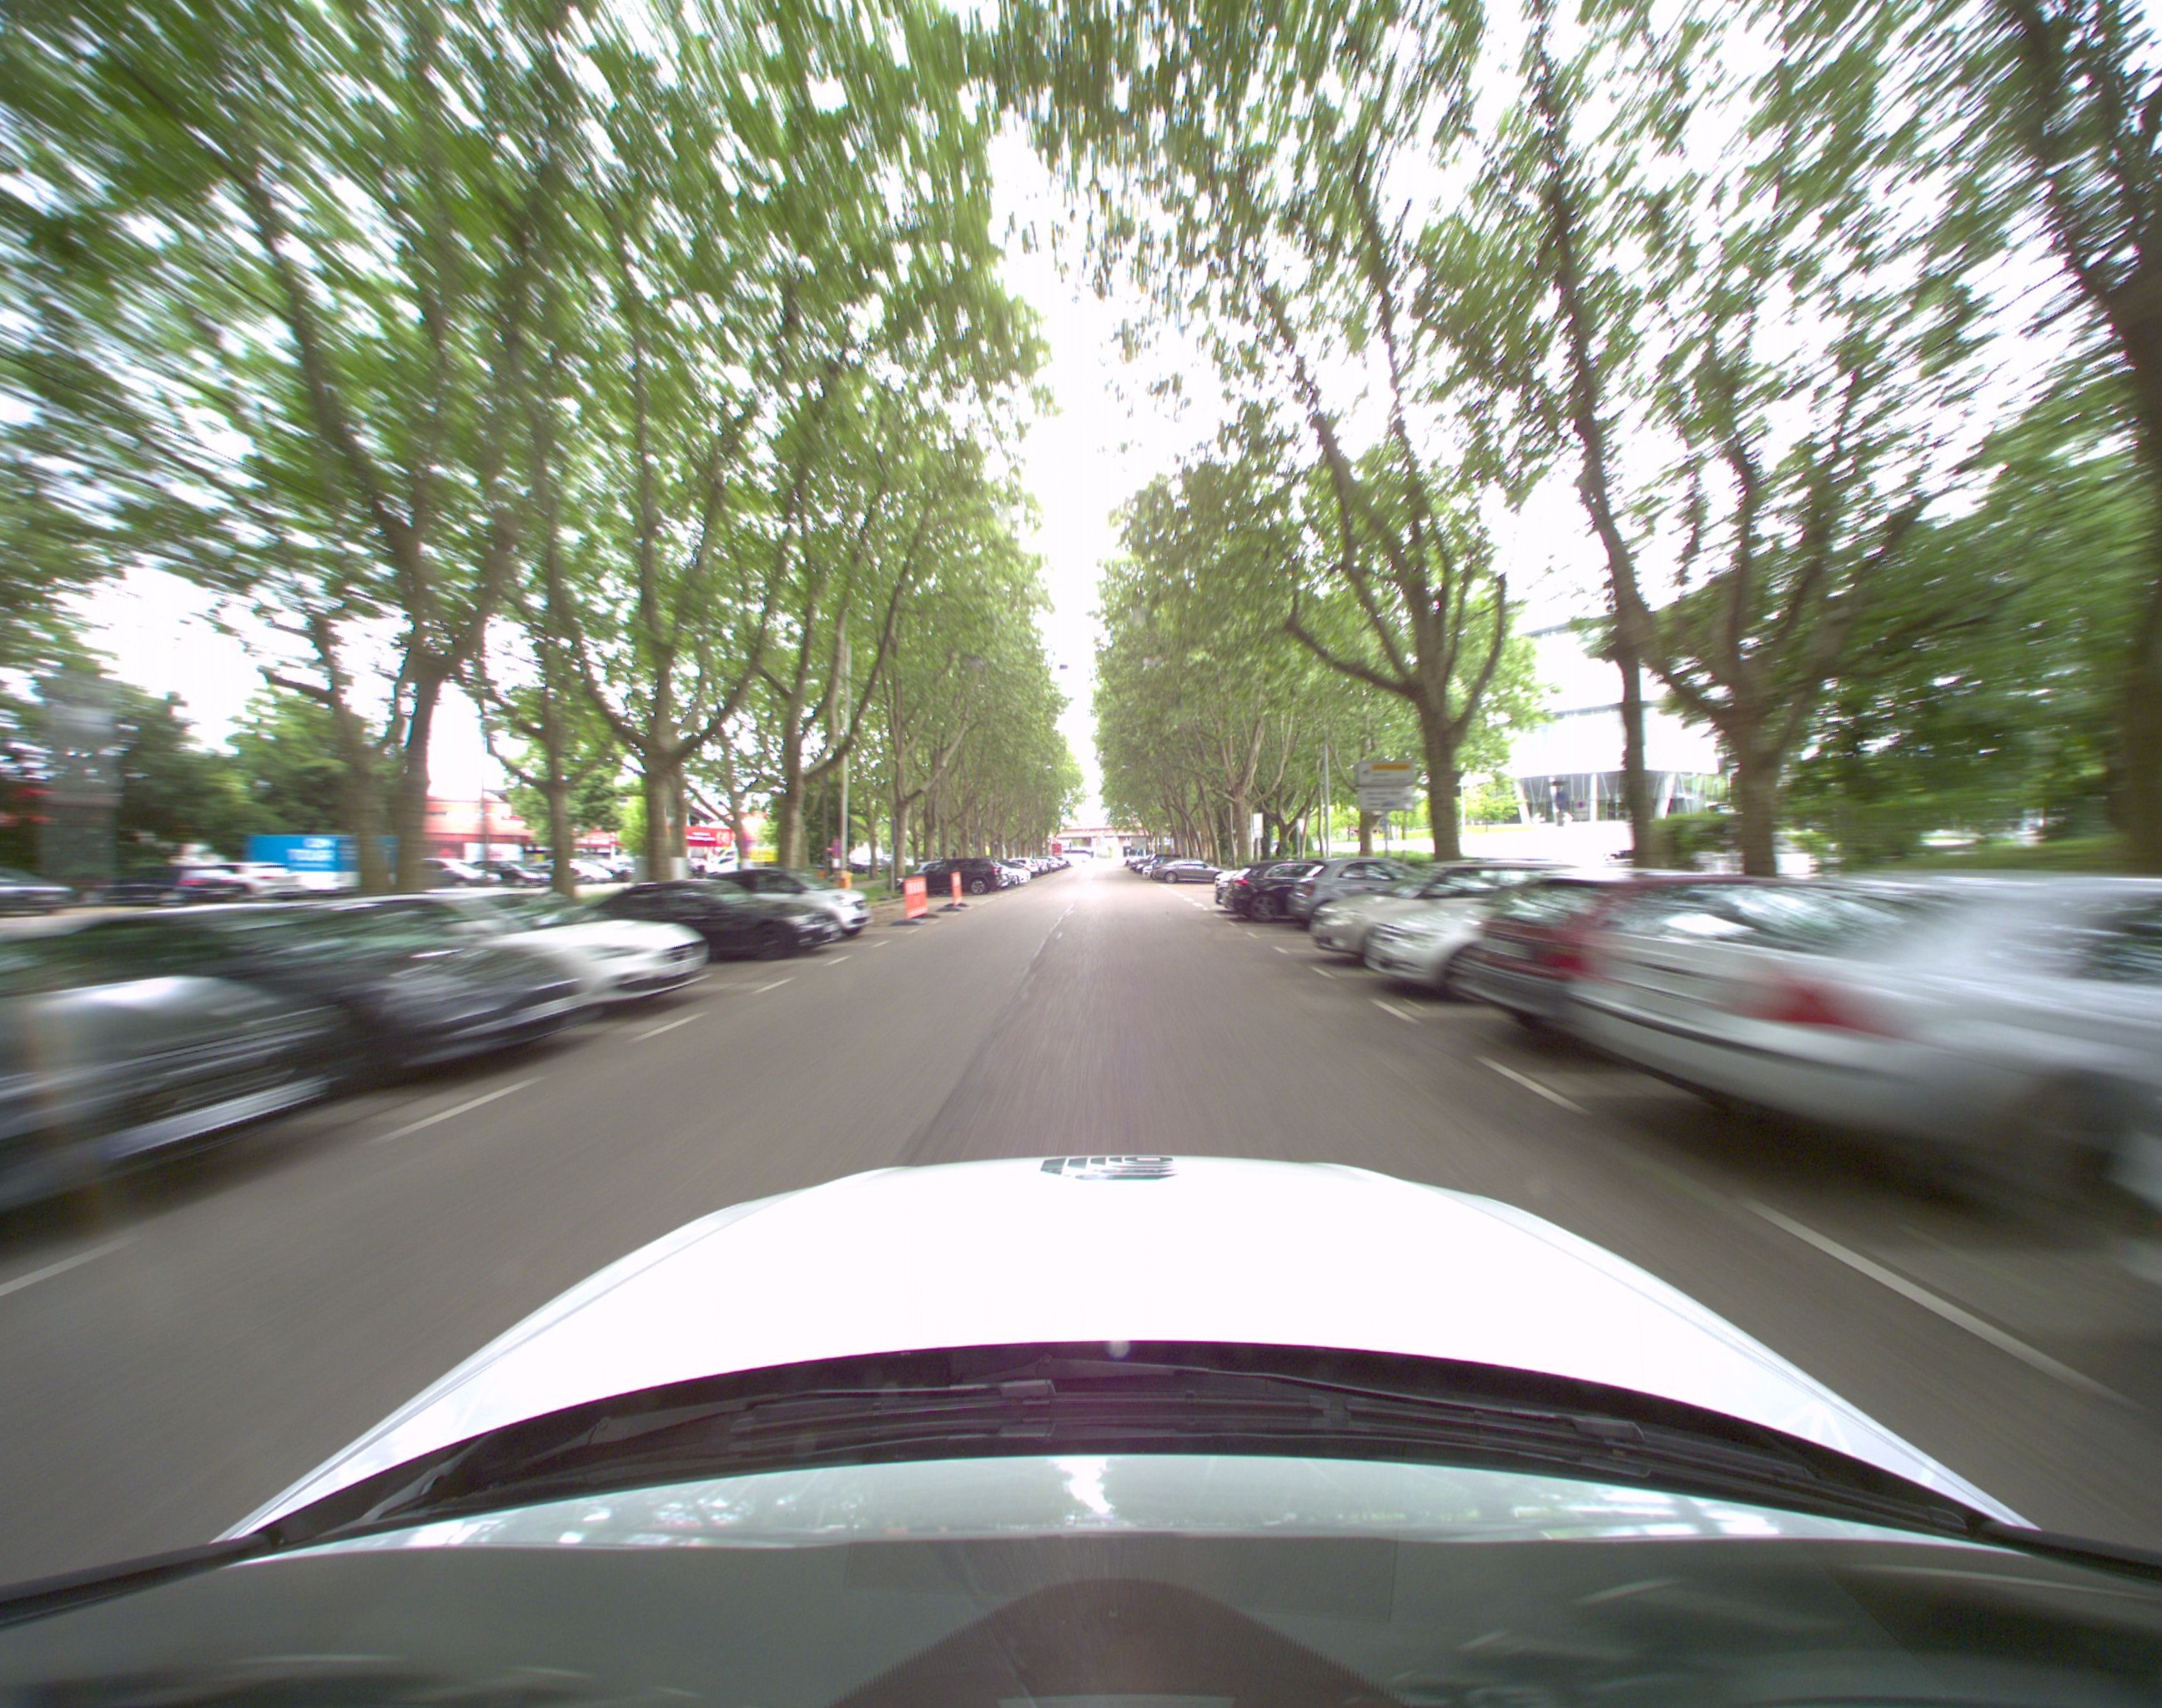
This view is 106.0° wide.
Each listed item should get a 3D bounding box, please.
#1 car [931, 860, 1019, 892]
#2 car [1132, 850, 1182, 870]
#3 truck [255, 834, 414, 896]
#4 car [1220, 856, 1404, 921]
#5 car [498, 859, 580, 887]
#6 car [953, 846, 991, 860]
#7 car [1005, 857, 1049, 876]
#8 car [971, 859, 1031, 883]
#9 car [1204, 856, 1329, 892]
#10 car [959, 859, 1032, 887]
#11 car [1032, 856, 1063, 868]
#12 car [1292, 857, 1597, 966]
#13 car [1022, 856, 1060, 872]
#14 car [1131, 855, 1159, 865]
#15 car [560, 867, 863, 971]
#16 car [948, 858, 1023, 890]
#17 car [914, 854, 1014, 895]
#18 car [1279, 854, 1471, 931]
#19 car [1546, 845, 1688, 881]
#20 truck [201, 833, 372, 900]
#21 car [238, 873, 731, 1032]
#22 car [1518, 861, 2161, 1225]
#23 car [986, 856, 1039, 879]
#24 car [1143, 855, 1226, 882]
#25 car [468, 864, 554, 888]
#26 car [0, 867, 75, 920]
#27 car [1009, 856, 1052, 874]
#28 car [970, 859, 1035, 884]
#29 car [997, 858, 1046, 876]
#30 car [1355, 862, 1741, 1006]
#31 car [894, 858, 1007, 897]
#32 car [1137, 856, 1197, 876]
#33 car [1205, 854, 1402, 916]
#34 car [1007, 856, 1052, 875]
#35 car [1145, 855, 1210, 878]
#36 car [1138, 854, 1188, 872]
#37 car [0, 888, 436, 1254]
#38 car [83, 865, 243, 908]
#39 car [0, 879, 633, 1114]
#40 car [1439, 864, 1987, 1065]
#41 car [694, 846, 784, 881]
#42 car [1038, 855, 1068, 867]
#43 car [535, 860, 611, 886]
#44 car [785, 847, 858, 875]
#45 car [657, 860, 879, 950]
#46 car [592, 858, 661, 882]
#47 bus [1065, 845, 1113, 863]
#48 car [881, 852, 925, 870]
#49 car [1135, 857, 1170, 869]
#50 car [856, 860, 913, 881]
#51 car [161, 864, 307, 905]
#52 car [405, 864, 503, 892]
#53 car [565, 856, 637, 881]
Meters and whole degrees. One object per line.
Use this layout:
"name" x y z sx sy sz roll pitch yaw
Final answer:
"car" -5.400 1.118 41.866 4.154 1.381 1.871 -3 0 -1
"car" 6.871 0.511 73.725 4.364 1.751 1.730 0 0 -2
"truck" -33.961 0.460 37.154 5.218 2.742 2.207 0 0 1
"car" 5.341 0.783 19.128 3.906 1.452 1.555 0 0 0
"car" -32.103 1.107 48.304 3.744 1.590 1.535 0 0 -2
"car" -15.638 -0.200 117.043 5.054 2.014 2.178 0 0 4
"car" -5.068 1.180 76.756 3.794 1.515 1.689 -3 0 6
"car" -5.517 1.170 56.676 3.794 1.484 1.665 -3 0 6
"car" 8.011 0.864 35.359 4.930 1.402 1.994 2 0 -9
"car" -4.828 1.069 46.490 3.794 1.354 1.665 -3 0 6
"car" -4.268 0.983 105.081 3.796 1.515 1.688 0 0 4
"car" 5.004 0.764 11.527 3.667 1.424 1.519 0 0 -1
"car" -4.237 1.043 86.956 3.794 1.515 1.689 -3 0 6
"car" 10.078 0.877 127.806 4.359 1.523 1.732 0 0 2
"car" -6.143 1.058 13.933 4.321 1.429 1.693 -3 0 -2
"car" -5.160 1.079 44.495 3.802 1.484 1.661 -3 0 -1
"car" -5.566 0.975 39.099 4.458 1.677 1.762 -3 0 -1
"car" 5.985 0.763 16.826 3.414 1.508 1.555 0 0 0
"car" 23.469 0.390 35.777 4.916 1.402 2.000 -1 0 -1
"truck" -33.403 0.508 34.341 5.293 2.742 1.929 0 0 1
"car" -6.550 1.046 9.222 4.381 1.429 1.697 -3 0 4
"car" 4.652 0.761 4.320 3.636 1.424 1.984 0 0 -2
"car" -5.398 1.062 64.110 3.794 1.602 1.789 -3 0 6
"car" 5.842 0.802 46.276 4.551 1.486 2.003 0 0 6
"car" -32.181 1.234 46.048 3.744 1.349 1.535 0 0 -2
"car" -33.042 1.153 24.339 3.790 1.486 1.678 0 0 0
"car" -4.891 1.079 78.928 3.794 1.515 1.689 -3 0 6
"car" -4.992 1.096 51.908 3.794 1.330 1.665 -3 0 6
"car" -5.021 1.116 69.245 3.794 1.296 1.789 -3 0 6
"car" 4.966 0.807 9.015 3.410 1.424 1.520 0 0 3
"car" -5.767 1.009 36.431 4.650 1.427 2.000 -3 0 -1
"car" 6.163 0.857 58.410 4.154 1.442 1.734 0 0 6
"car" 5.722 0.778 21.367 4.644 1.452 1.926 1 0 0
"car" -4.671 1.008 74.636 3.794 1.515 1.689 -3 0 6
"car" 6.298 0.818 53.409 4.154 1.442 1.734 0 0 6
"car" 6.878 0.787 68.606 4.037 1.468 1.730 0 0 -2
"car" -6.054 1.016 4.177 4.010 1.429 1.693 -3 0 -2
"car" -32.896 1.145 29.253 3.790 1.486 1.678 0 0 0
"car" -6.007 1.019 6.517 3.817 1.430 1.693 -3 -1 -2
"car" 4.968 0.802 6.701 3.416 1.424 1.518 0 0 -2
"car" -21.844 0.610 52.125 5.062 2.232 1.535 0 0 -1
"car" -3.691 0.922 107.814 3.796 1.515 1.688 0 0 4
"car" -31.760 1.152 50.985 3.744 1.590 1.535 0 0 -2
"car" -20.693 0.528 65.052 5.054 2.232 2.178 0 0 4
"car" -6.278 0.998 16.669 3.817 1.554 1.693 -3 0 -2
"car" -31.562 1.092 56.639 3.963 1.590 1.698 0 0 9
"bus" 1.856 0.093 195.411 11.463 3.971 2.469 -2 -1 28
"car" -19.888 0.803 90.979 4.331 2.014 2.178 0 0 4
"car" 9.295 1.119 106.383 4.364 1.523 1.730 0 0 -2
"car" -19.472 1.629 80.782 5.054 2.014 2.178 0 0 4
"car" -32.687 1.156 31.493 3.790 1.486 1.712 0 0 0
"car" -31.768 1.194 41.337 3.743 1.349 1.535 0 0 -1
"car" -31.770 0.924 53.940 3.963 1.590 1.698 0 0 9
